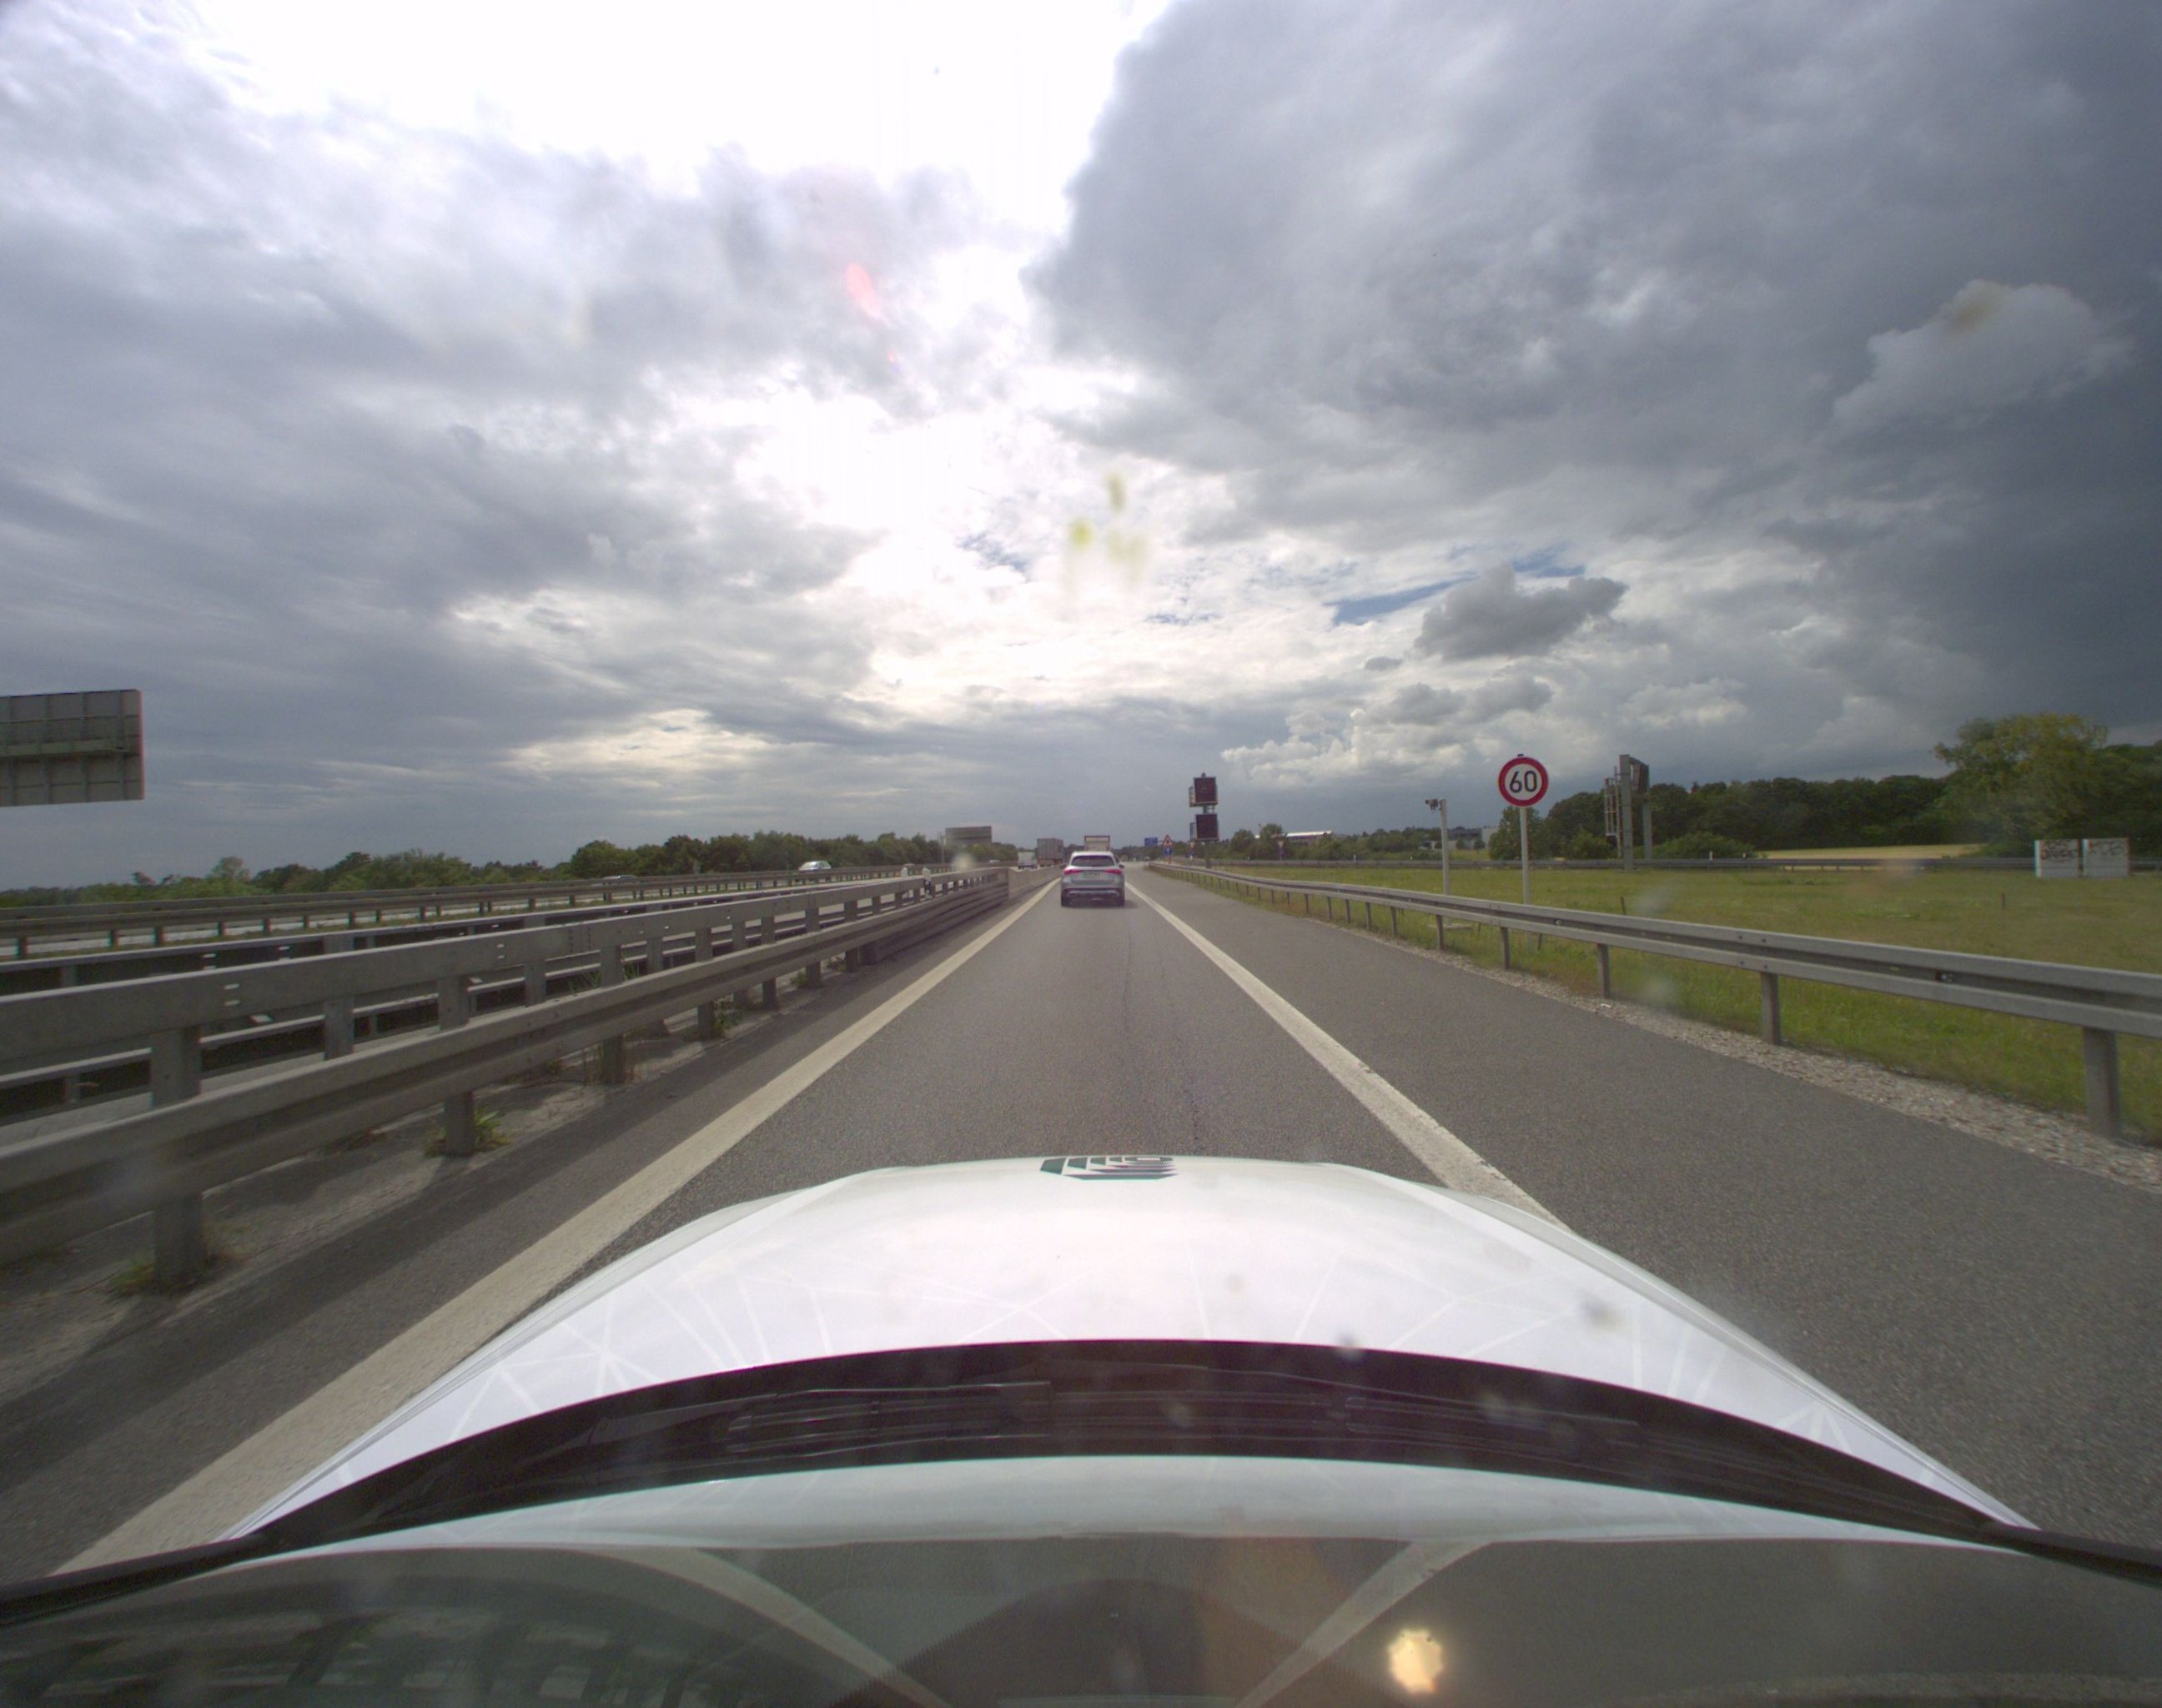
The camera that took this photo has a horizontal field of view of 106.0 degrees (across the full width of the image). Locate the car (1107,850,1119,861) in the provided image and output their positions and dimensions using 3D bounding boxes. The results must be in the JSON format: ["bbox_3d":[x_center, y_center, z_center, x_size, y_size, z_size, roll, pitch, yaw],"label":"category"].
[{"bbox_3d":[6.223,0.234,157.673,1.984,2.013,4.380,-1,1,4],"label":"car"}]

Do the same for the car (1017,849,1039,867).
[{"bbox_3d":[-6.302,0.421,97.047,1.984,2.013,4.380,-1,1,4],"label":"car"}]

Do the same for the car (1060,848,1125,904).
[{"bbox_3d":[0.397,0.619,25.086,1.812,1.514,4.003,-1,1,2],"label":"car"}]

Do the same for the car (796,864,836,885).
[{"bbox_3d":[-23.287,1.769,71.617,1.736,1.622,4.522,-1,1,4],"label":"car"}]

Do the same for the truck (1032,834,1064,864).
[{"bbox_3d":[-4.684,-0.829,119.746,3.170,4.018,16.090,-1,1,3],"label":"truck"}]

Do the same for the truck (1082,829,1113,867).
[{"bbox_3d":[1.540,-0.501,73.803,2.559,3.126,8.639,-1,0,2],"label":"truck"}]

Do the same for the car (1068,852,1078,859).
[{"bbox_3d":[-1.578,0.302,163.502,1.688,1.288,4.005,-1,1,4],"label":"car"}]
